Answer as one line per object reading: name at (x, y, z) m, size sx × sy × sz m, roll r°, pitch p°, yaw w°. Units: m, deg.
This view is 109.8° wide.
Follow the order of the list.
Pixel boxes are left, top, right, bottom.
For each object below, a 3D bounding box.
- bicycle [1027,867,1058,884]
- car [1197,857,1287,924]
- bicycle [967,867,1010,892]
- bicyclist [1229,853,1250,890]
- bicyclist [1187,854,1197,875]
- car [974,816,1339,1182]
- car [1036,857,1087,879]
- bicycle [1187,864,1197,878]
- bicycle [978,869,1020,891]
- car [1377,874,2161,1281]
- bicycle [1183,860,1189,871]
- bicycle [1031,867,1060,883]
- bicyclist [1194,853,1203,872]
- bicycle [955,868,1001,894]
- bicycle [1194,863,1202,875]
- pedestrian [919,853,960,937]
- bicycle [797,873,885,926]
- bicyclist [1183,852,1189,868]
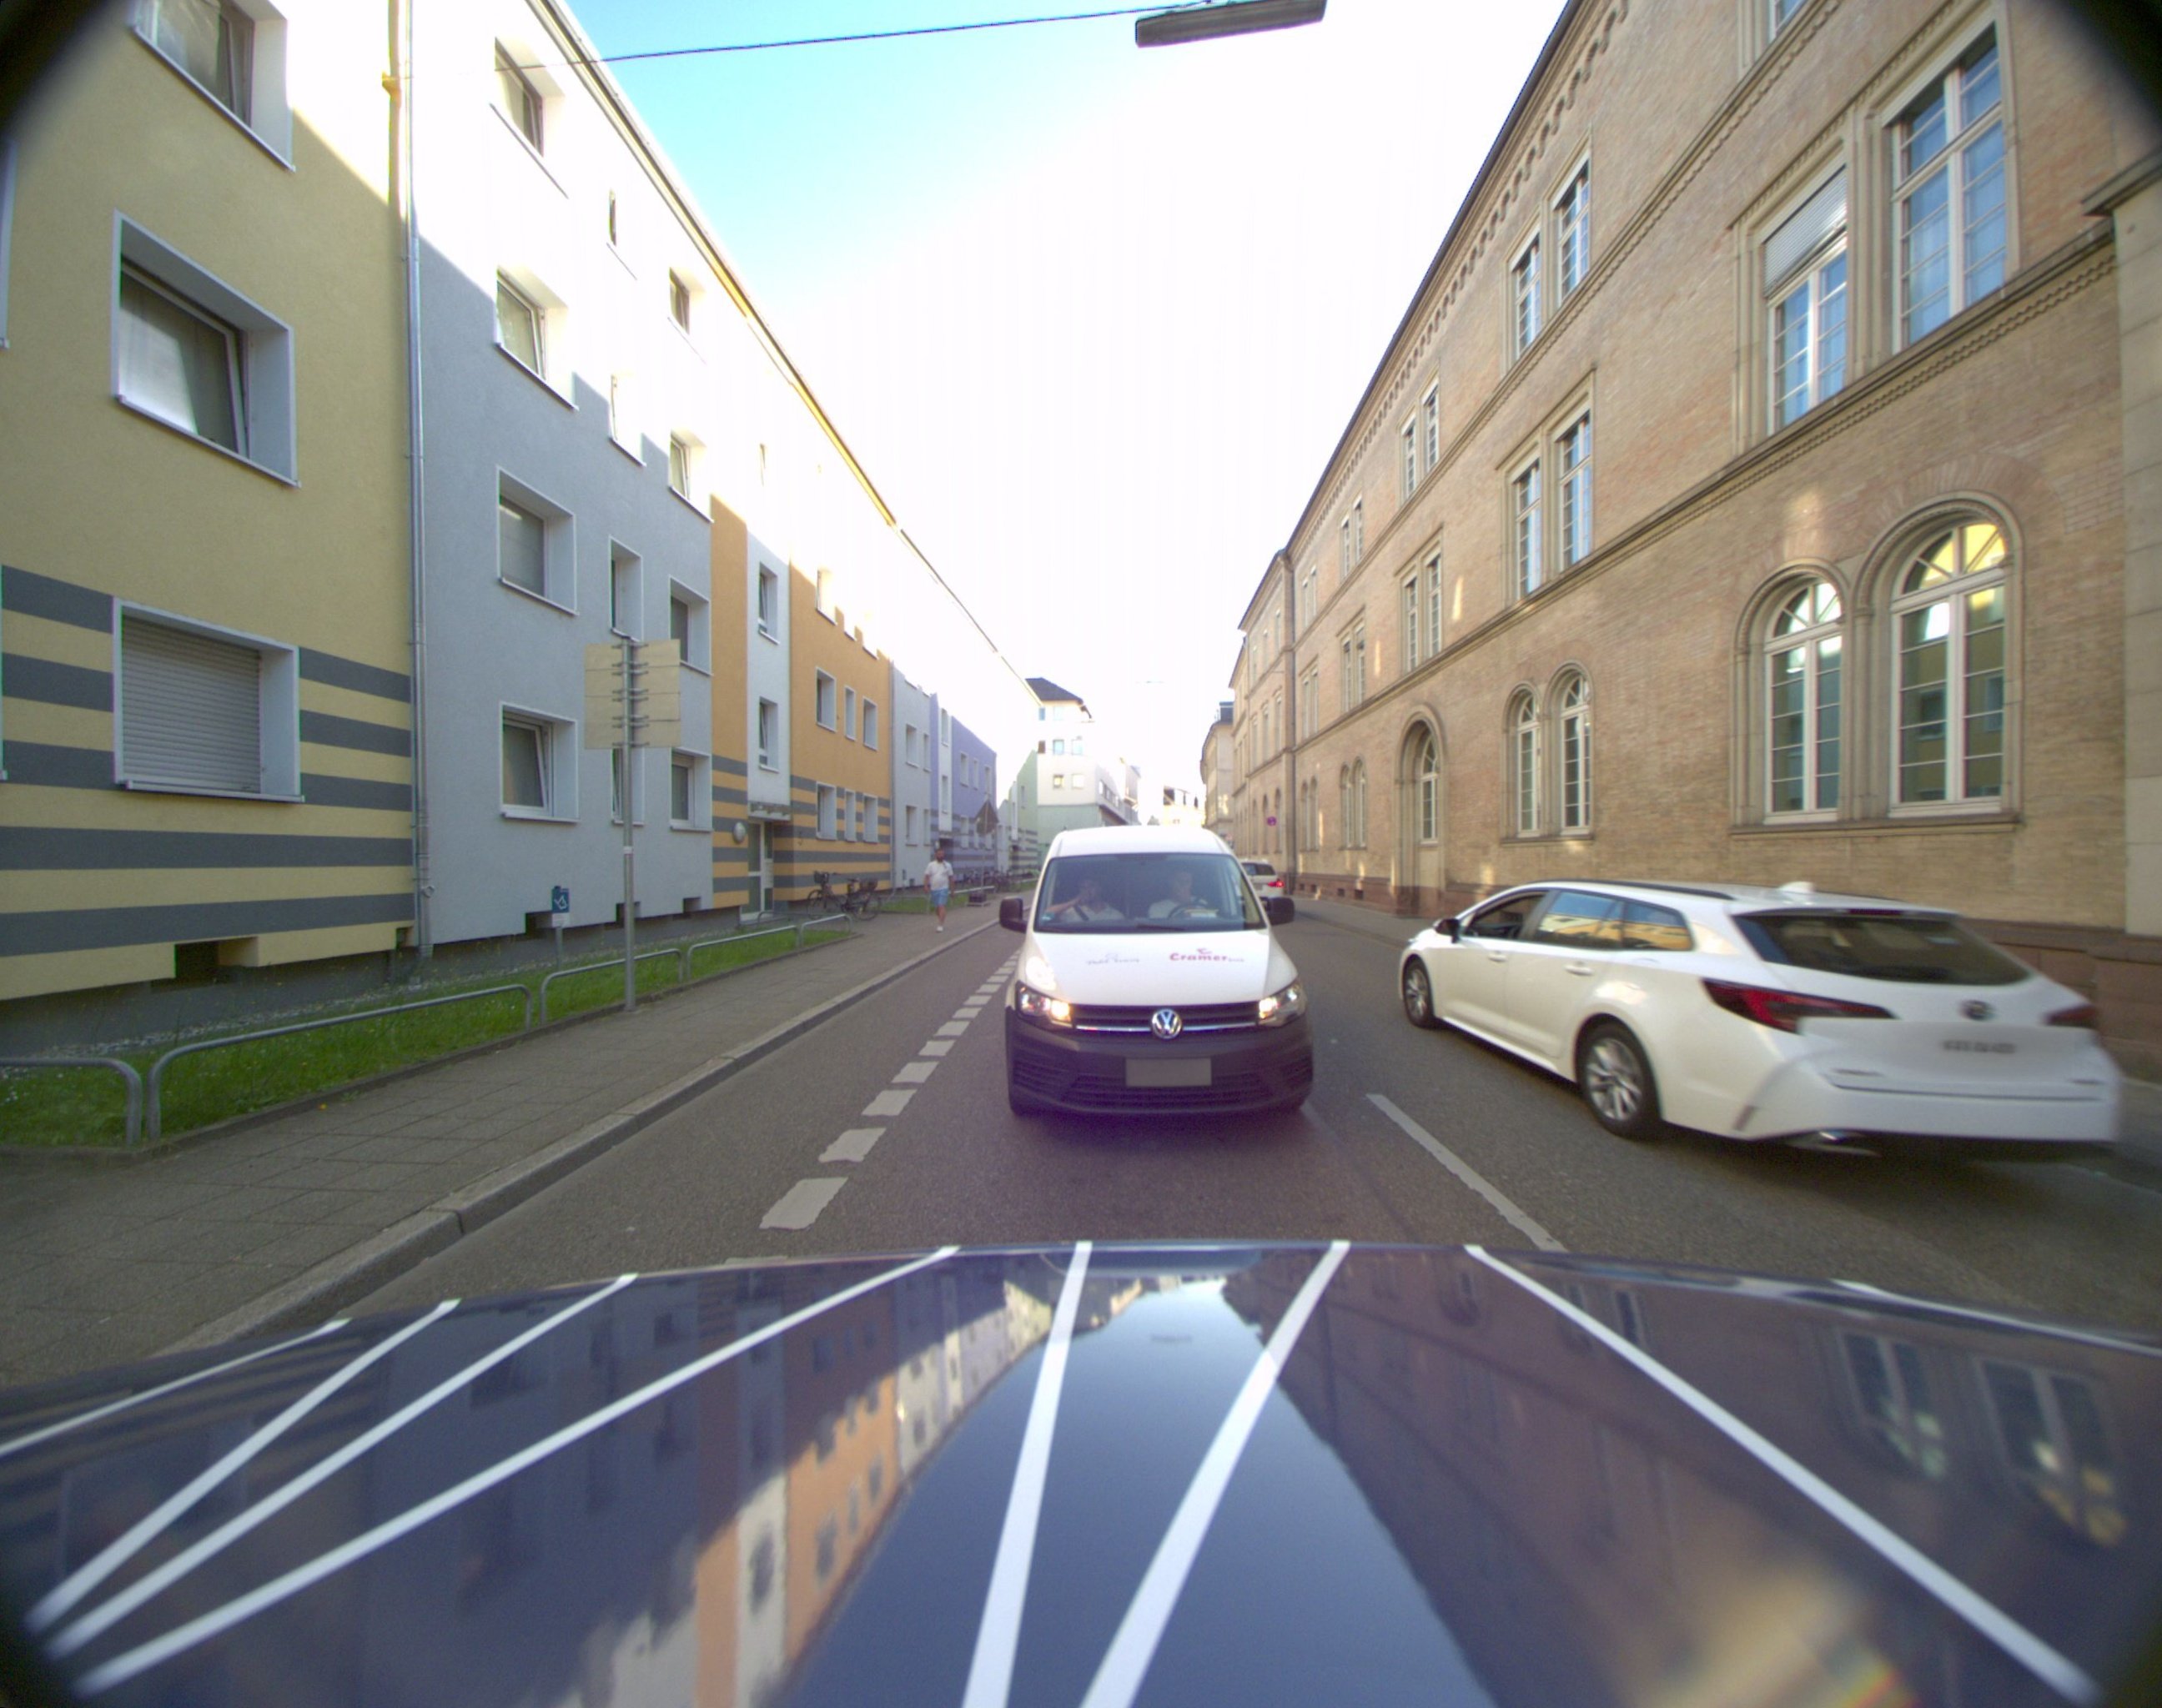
bicycle at (-2.305, 1.291, 46.101) m, size 1.775 × 0.934 × 0.584 m, roll 1°, pitch 1°, yaw 7°
car at (4.305, 0.912, 20.922) m, size 1.689 × 1.573 × 4.275 m, roll 2°, pitch 0°, yaw 3°
bicycle at (-4.040, 1.112, 33.230) m, size 1.775 × 0.990 × 0.584 m, roll 1°, pitch 1°, yaw 7°
bicyclist at (6.509, 0.713, 31.197) m, size 0.687 × 1.467 × 0.871 m, roll 2°, pitch 0°, yaw 2°
bicyclist at (8.124, 0.760, 55.513) m, size 0.651 × 1.558 × 0.961 m, roll 2°, pitch 0°, yaw 7°
car at (0.415, 0.735, 6.481) m, size 1.819 × 1.825 × 5.341 m, roll 0°, pitch 0°, yaw 1°
car at (-1.584, 1.152, 63.505) m, size 3.995 × 1.681 × 1.901 m, roll -2°, pitch 1°, yaw 5°
bicycle at (8.120, 1.223, 55.525) m, size 0.651 × 1.001 × 1.807 m, roll 2°, pitch 0°, yaw 7°
bicycle at (-3.650, 1.150, 33.846) m, size 1.775 × 0.934 × 0.584 m, roll 1°, pitch 1°, yaw 7°
car at (3.889, 0.967, 5.342) m, size 1.891 × 1.467 × 4.545 m, roll 2°, pitch 0°, yaw 1°
bicycle at (9.731, 1.081, 70.456) m, size 0.546 × 1.001 × 1.758 m, roll 2°, pitch 0°, yaw 8°
bicycle at (-2.225, 1.323, 47.638) m, size 1.775 × 0.934 × 0.584 m, roll 1°, pitch 1°, yaw 7°
bicyclist at (9.710, 0.683, 62.820) m, size 0.651 × 1.500 × 1.112 m, roll 2°, pitch 0°, yaw 9°
bicycle at (-4.317, 1.122, 31.888) m, size 1.775 × 0.990 × 0.584 m, roll 1°, pitch 1°, yaw 7°
bicycle at (9.676, 1.221, 62.750) m, size 0.651 × 1.001 × 1.877 m, roll 2°, pitch 0°, yaw 9°
pedestrian at (-2.899, 0.816, 15.584) m, size 0.644 × 1.662 × 0.834 m, roll 1°, pitch 0°, yaw 3°
bicycle at (-5.386, 1.024, 17.131) m, size 1.776 × 1.118 × 0.583 m, roll 1°, pitch 1°, yaw -1°
bicyclist at (9.752, 0.566, 70.535) m, size 0.546 × 1.524 × 0.870 m, roll 2°, pitch 0°, yaw 8°
